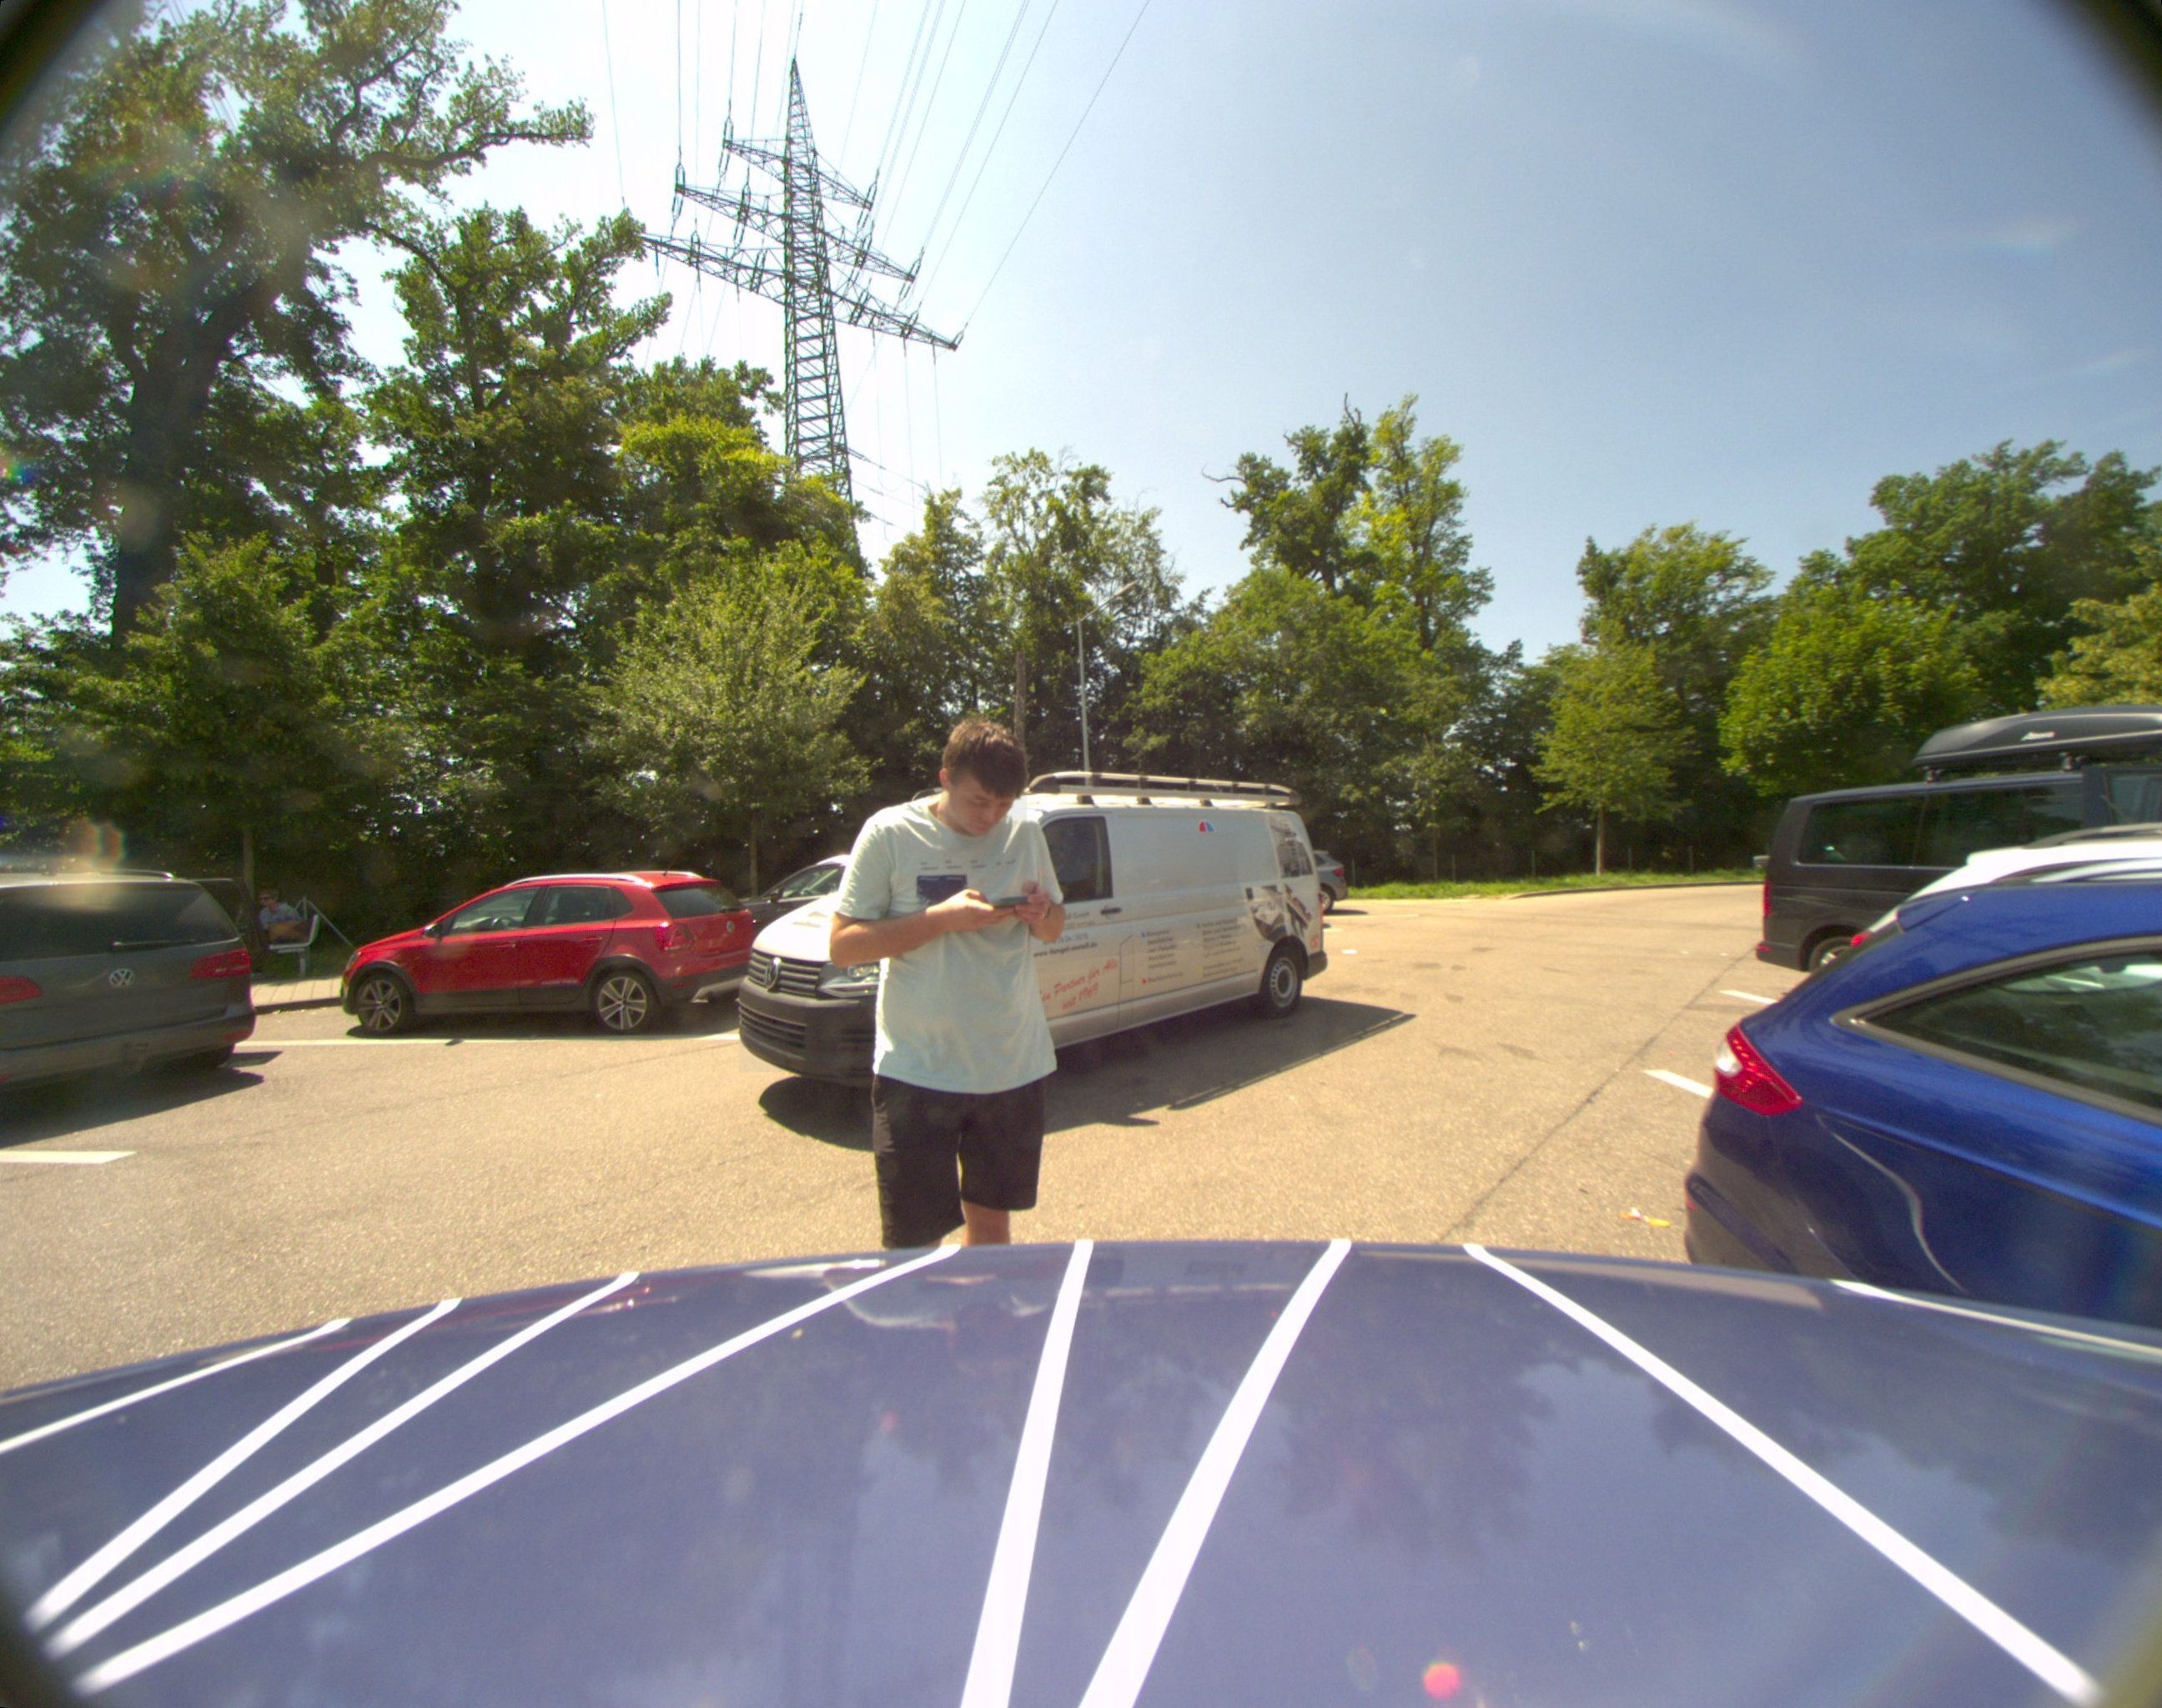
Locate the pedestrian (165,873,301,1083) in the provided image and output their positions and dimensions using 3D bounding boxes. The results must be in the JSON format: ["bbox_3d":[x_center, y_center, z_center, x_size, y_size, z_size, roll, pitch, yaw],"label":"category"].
[{"bbox_3d":[-7.376,1.038,6.627,0.481,1.712,0.589,-2,1,22],"label":"pedestrian"}]

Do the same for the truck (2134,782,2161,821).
[{"bbox_3d":[40.252,-1.966,27.129,1.168,1.367,2.882,-2,-1,-19],"label":"truck"}]

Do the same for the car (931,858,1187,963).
[{"bbox_3d":[-0.277,0.861,12.225,3.773,1.445,1.848,-2,0,4],"label":"car"}]

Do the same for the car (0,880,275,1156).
[{"bbox_3d":[-8.377,1.085,5.418,3.903,1.607,1.705,-2,1,11],"label":"car"}]

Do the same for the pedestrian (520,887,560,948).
[{"bbox_3d":[-10.933,1.280,15.355,0.413,1.186,0.443,-2,1,12],"label":"pedestrian"}]

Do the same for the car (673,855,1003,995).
[{"bbox_3d":[-3.111,0.889,10.304,3.866,1.607,1.709,-2,0,0],"label":"car"}]

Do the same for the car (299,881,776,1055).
[{"bbox_3d":[-5.291,1.084,7.661,3.745,1.458,1.621,-2,0,7],"label":"car"}]

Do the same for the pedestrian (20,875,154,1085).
[{"bbox_3d":[-8.552,1.051,6.553,0.436,1.712,0.511,-2,1,17],"label":"pedestrian"}]

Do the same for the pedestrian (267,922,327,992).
[{"bbox_3d":[-10.851,1.411,10.529,0.503,0.874,0.512,-2,0,-39],"label":"pedestrian"}]

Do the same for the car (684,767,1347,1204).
[{"bbox_3d":[0.028,0.597,6.208,5.445,2.092,1.839,-1,1,-45],"label":"car"}]

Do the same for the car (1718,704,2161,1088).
[{"bbox_3d":[7.297,0.239,5.426,1.788,2.304,4.084,-2,0,-5],"label":"car"}]

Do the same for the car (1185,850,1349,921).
[{"bbox_3d":[4.319,0.729,18.107,3.585,1.493,1.707,-2,1,8],"label":"car"}]

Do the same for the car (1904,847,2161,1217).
[{"bbox_3d":[4.678,0.655,2.137,1.344,1.352,3.114,-2,0,1],"label":"car"}]

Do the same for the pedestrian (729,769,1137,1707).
[{"bbox_3d":[-0.375,0.750,1.863,0.741,1.818,0.613,-2,0,-34],"label":"pedestrian"}]

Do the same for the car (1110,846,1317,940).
[{"bbox_3d":[2.582,0.745,15.382,3.850,1.678,1.755,-2,0,4],"label":"car"}]

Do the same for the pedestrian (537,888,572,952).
[{"bbox_3d":[-10.100,1.256,14.578,0.366,1.186,0.356,-2,1,21],"label":"pedestrian"}]
